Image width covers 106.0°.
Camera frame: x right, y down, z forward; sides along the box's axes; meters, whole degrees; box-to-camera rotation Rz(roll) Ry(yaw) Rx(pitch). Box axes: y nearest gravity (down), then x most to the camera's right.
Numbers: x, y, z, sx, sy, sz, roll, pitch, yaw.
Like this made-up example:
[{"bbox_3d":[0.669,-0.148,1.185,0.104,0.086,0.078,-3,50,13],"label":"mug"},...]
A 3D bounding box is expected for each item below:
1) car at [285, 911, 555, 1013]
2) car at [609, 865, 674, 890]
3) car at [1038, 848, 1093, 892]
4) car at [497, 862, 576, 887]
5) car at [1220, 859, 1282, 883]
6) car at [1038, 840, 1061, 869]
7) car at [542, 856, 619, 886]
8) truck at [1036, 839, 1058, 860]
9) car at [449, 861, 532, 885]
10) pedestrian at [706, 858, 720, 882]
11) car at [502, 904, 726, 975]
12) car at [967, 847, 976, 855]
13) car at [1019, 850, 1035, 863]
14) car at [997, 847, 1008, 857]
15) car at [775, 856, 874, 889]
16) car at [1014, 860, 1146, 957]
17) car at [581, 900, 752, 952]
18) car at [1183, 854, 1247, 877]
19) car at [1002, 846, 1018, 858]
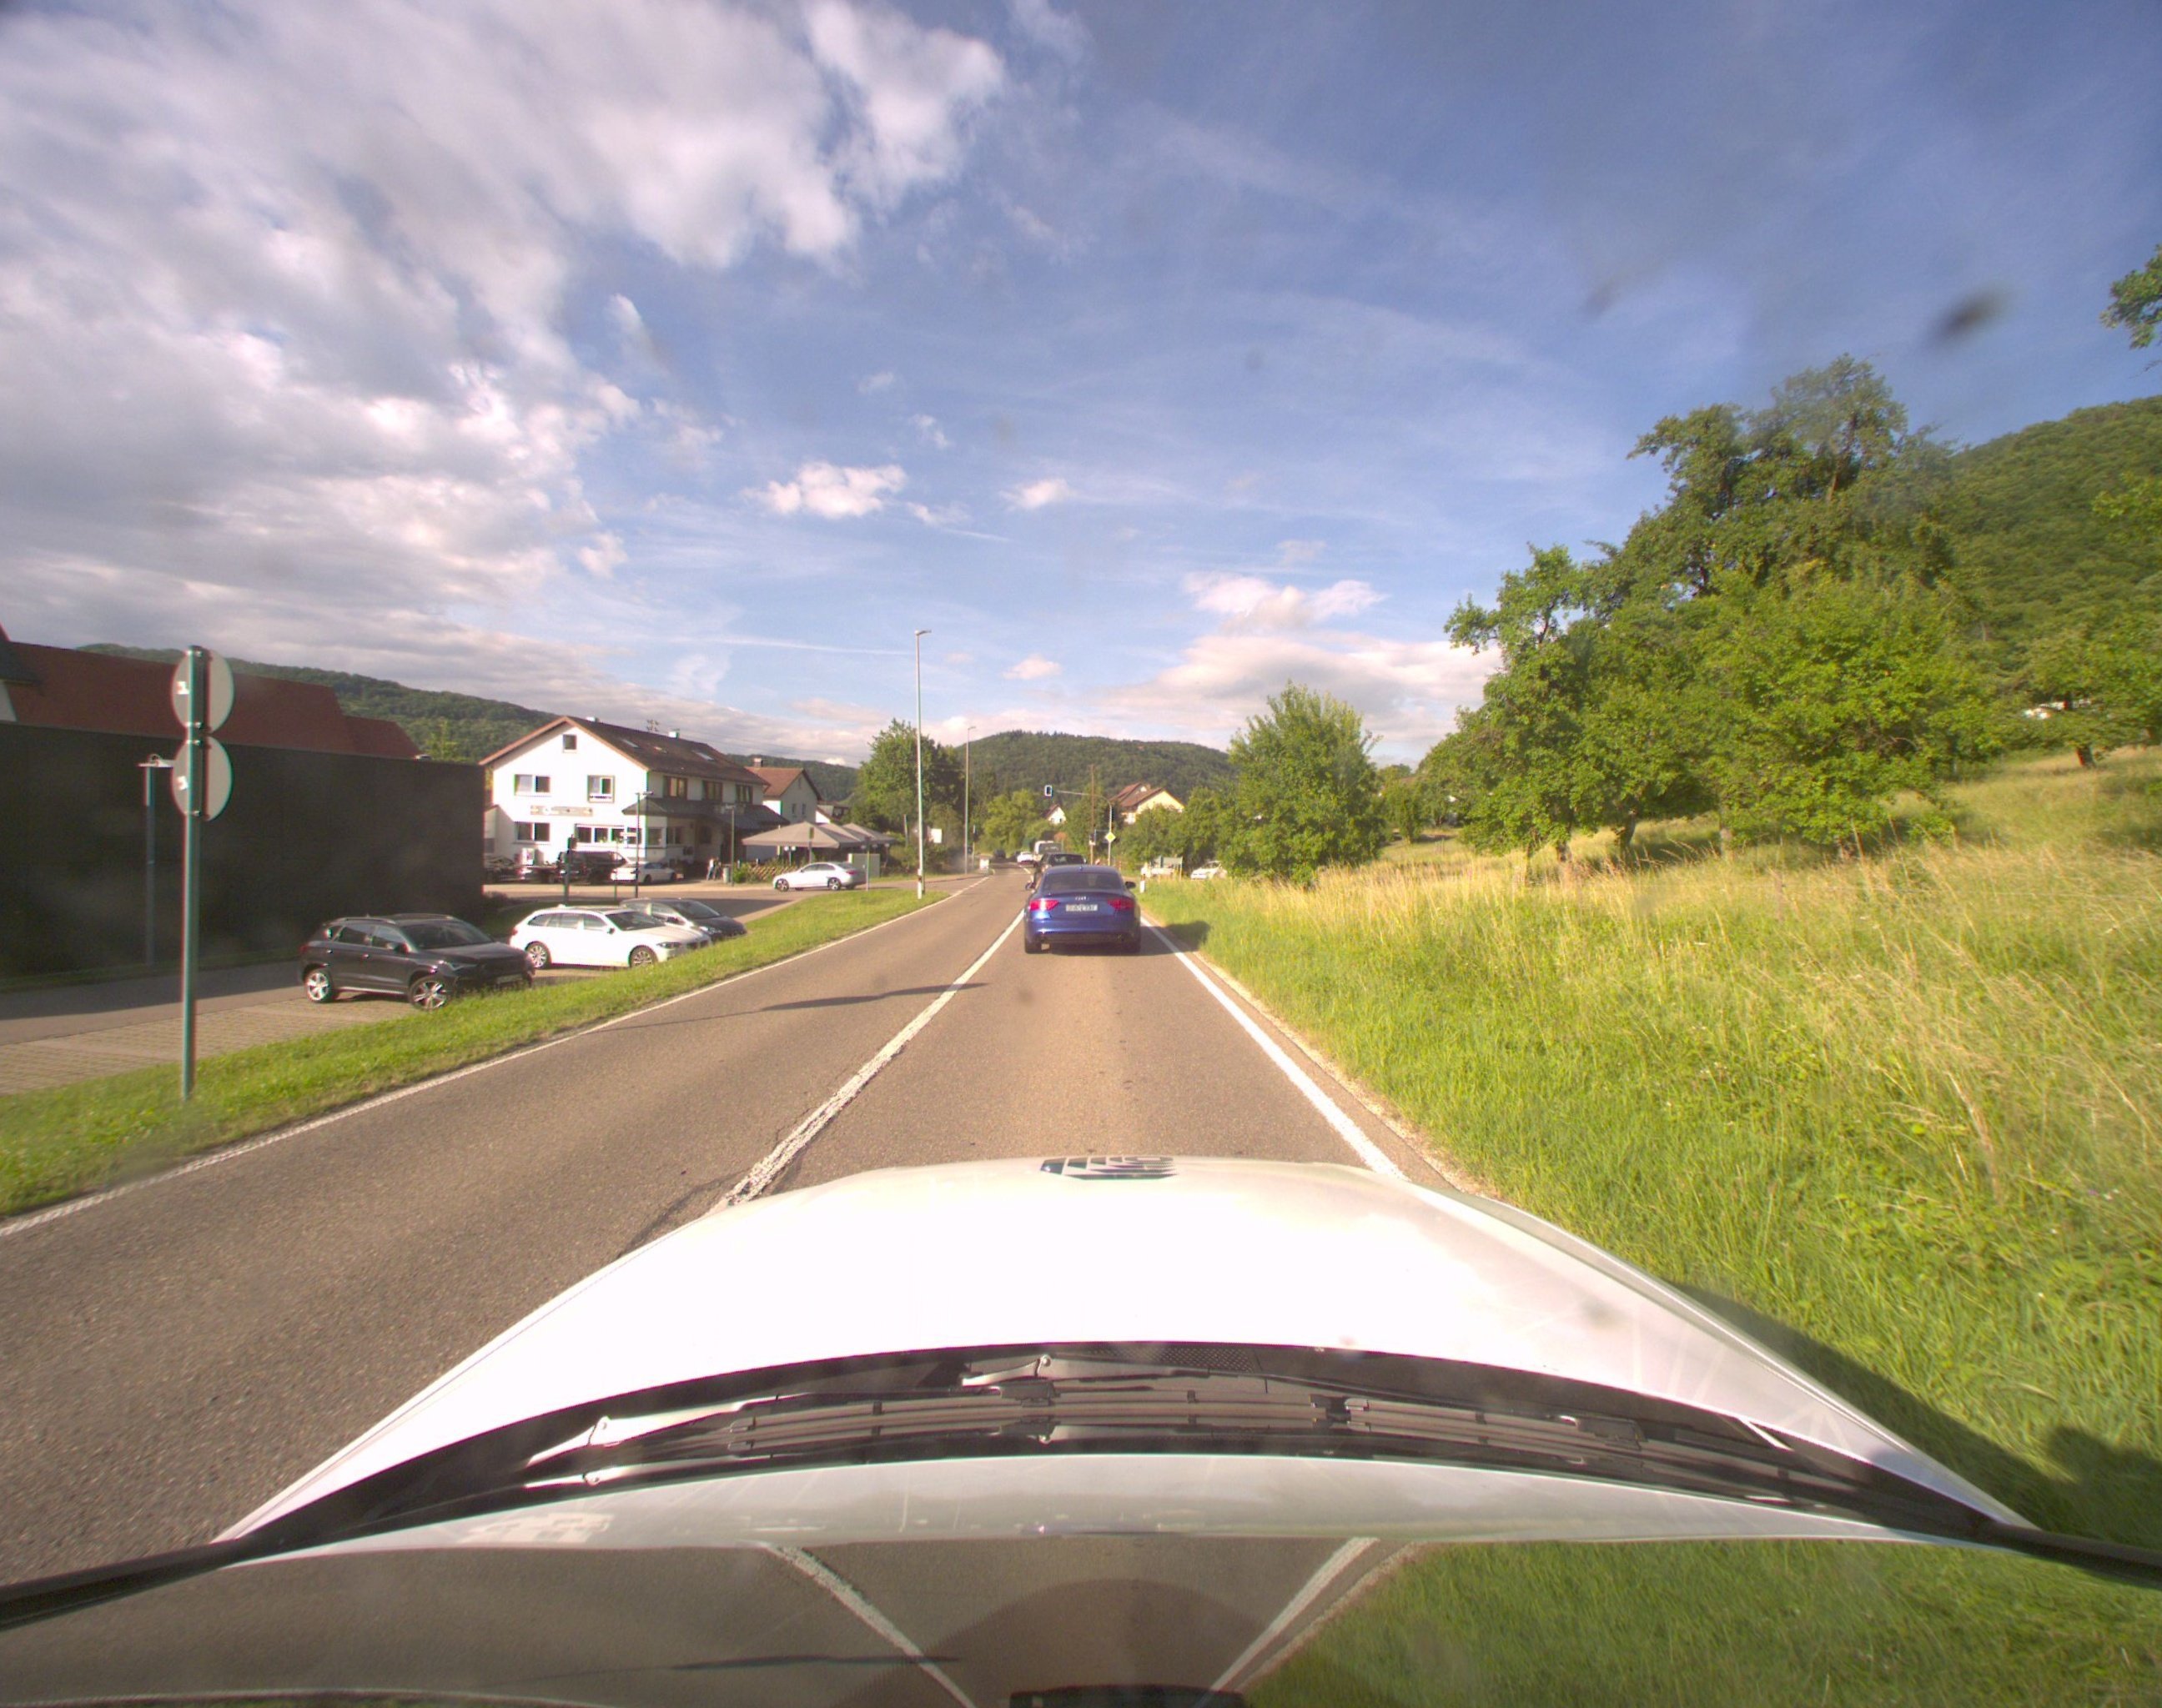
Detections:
[{"bbox_3d":[-12.744,2.007,15.816,3.997,1.637,2.007,0,-1,13],"label":"car"},{"bbox_3d":[-25.921,1.356,48.174,1.550,1.450,4.001,0,-1,1],"label":"car"},{"bbox_3d":[-0.550,0.635,32.734,1.737,1.639,4.006,0,-1,6],"label":"car"},{"bbox_3d":[-31.645,1.175,47.476,1.835,1.354,4.000,0,-1,1],"label":"car"},{"bbox_3d":[10.757,1.069,51.441,3.743,1.478,1.614,0,-1,-31],"label":"car"},{"bbox_3d":[-2.466,0.053,64.087,1.742,2.195,3.996,0,-1,-2],"label":"car"},{"bbox_3d":[-29.099,0.994,47.501,1.880,1.662,4.001,0,-1,1],"label":"car"},{"bbox_3d":[-3.396,-0.413,80.824,1.696,1.953,5.906,0,-1,-7],"label":"truck"},{"bbox_3d":[-34.363,1.100,47.516,1.835,1.354,4.000,0,-1,1],"label":"car"},{"bbox_3d":[-23.420,1.019,51.871,0.606,1.503,0.590,0,-1,1],"label":"pedestrian"},{"bbox_3d":[-11.499,2.050,20.155,4.780,1.493,1.888,0,-1,13],"label":"car"},{"bbox_3d":[-21.589,-0.647,160.561,1.625,1.576,3.669,0,-1,-8],"label":"car"},{"bbox_3d":[-6.448,0.289,97.549,1.696,1.490,3.517,0,-1,-8],"label":"car"},{"bbox_3d":[-12.359,-0.240,127.904,1.695,1.490,3.520,0,-1,-5],"label":"car"},{"bbox_3d":[-12.917,0.933,41.150,4.419,1.639,1.816,0,-1,11],"label":"car"},{"bbox_3d":[0.133,0.826,13.843,1.786,1.388,4.006,-1,-1,6],"label":"car"},{"bbox_3d":[-11.543,1.981,22.789,3.963,1.310,1.765,0,-1,9],"label":"car"},{"bbox_3d":[8.910,0.763,54.032,4.076,1.508,1.834,0,-1,-37],"label":"car"},{"bbox_3d":[-9.401,-0.273,107.454,1.698,1.490,3.513,0,-1,-11],"label":"car"}]
